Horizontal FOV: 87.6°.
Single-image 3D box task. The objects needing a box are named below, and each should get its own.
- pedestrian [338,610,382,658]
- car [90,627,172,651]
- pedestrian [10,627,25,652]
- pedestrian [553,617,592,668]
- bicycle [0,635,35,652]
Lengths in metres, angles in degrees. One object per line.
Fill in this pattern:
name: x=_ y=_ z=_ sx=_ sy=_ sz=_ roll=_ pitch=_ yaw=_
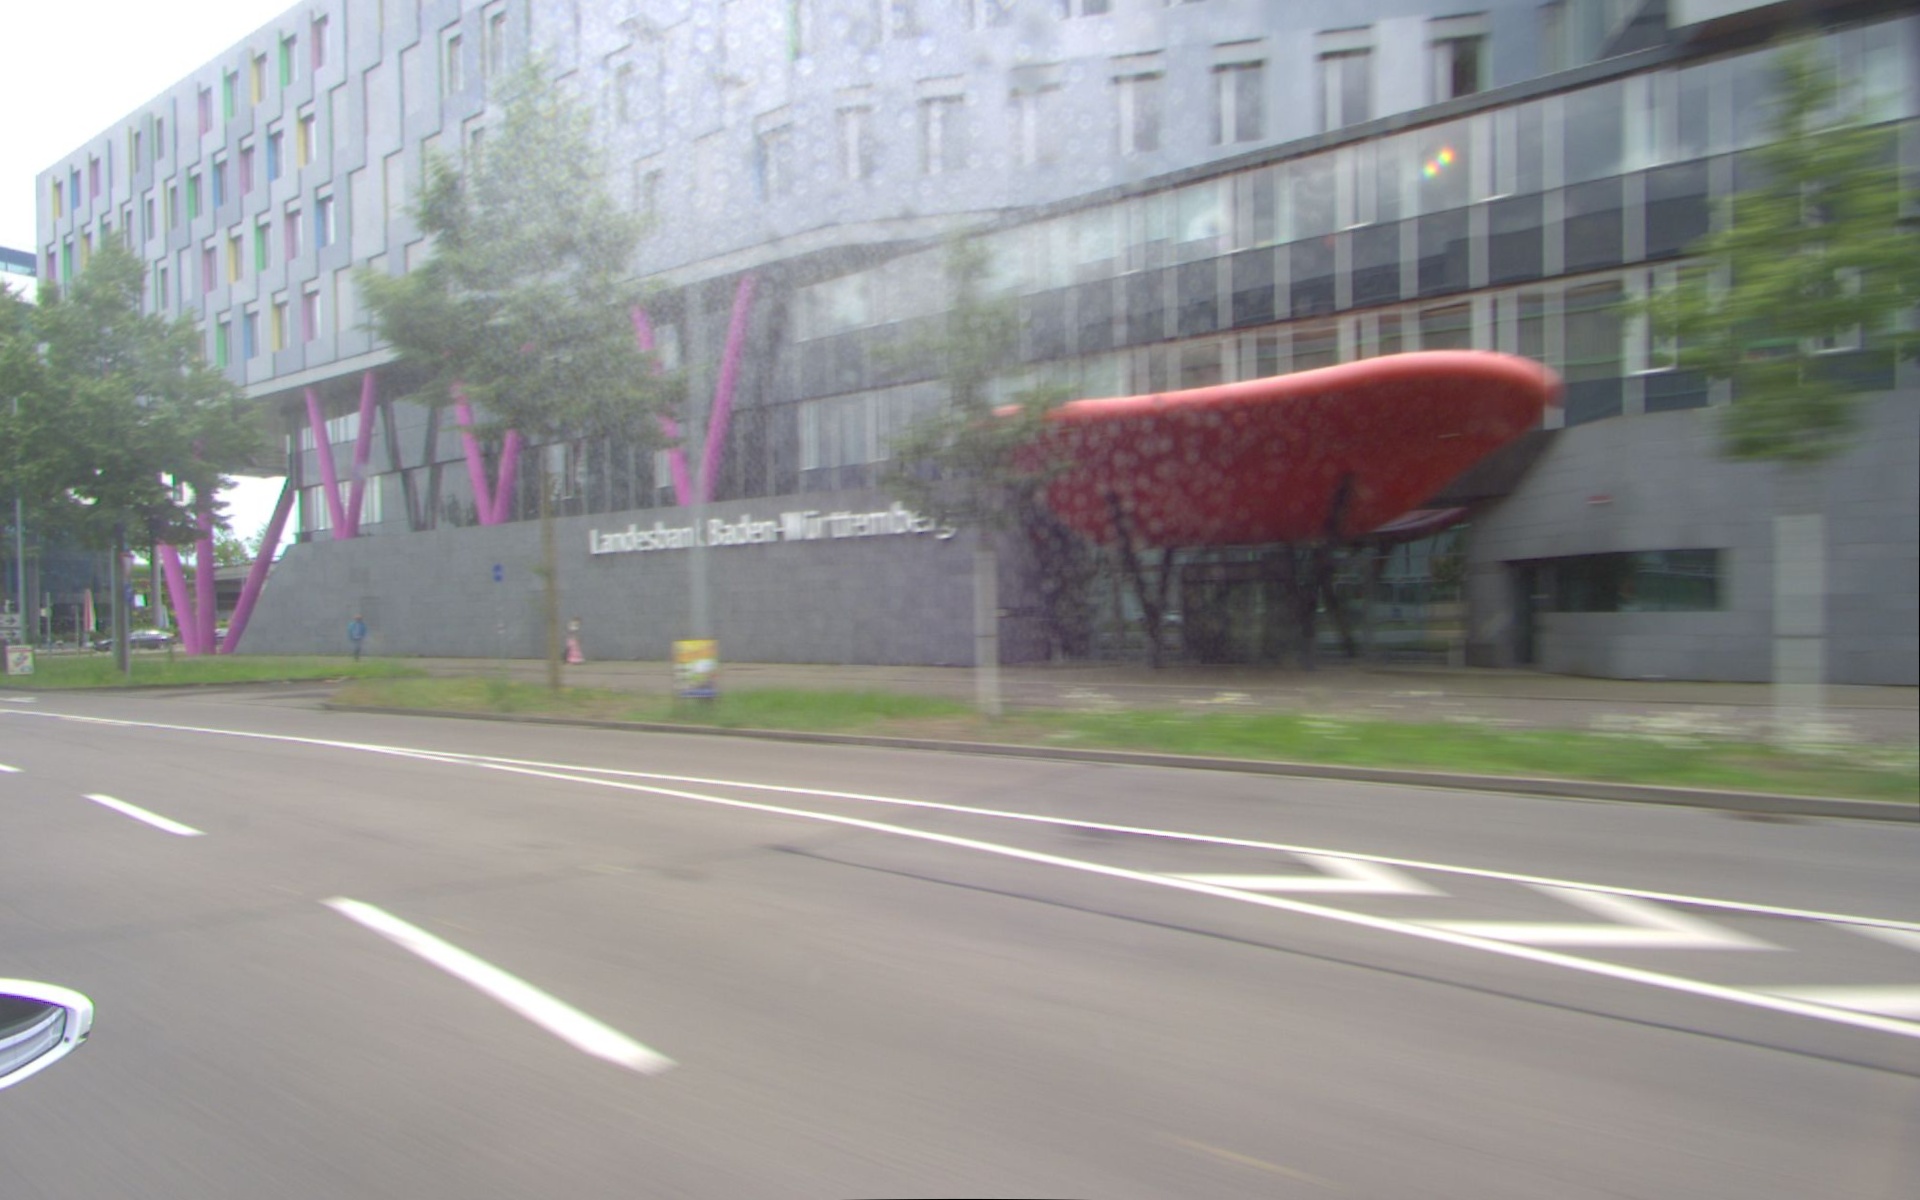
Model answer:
pedestrian: x=-22.824 y=1.271 z=38.118 sx=1.121 sy=1.794 sz=1.049 roll=0 pitch=1 yaw=33
car: x=-60.008 y=2.795 z=72.548 sx=1.734 sy=1.636 sz=4.240 roll=-1 pitch=-1 yaw=33
pedestrian: x=-64.604 y=2.703 z=68.620 sx=0.610 sy=1.625 sz=0.613 roll=-1 pitch=0 yaw=34
pedestrian: x=-12.477 y=1.340 z=32.209 sx=0.902 sy=1.604 sz=0.783 roll=0 pitch=1 yaw=33
bicycle: x=-64.627 y=2.970 z=68.586 sx=0.609 sy=1.100 sz=1.787 roll=-1 pitch=0 yaw=33
